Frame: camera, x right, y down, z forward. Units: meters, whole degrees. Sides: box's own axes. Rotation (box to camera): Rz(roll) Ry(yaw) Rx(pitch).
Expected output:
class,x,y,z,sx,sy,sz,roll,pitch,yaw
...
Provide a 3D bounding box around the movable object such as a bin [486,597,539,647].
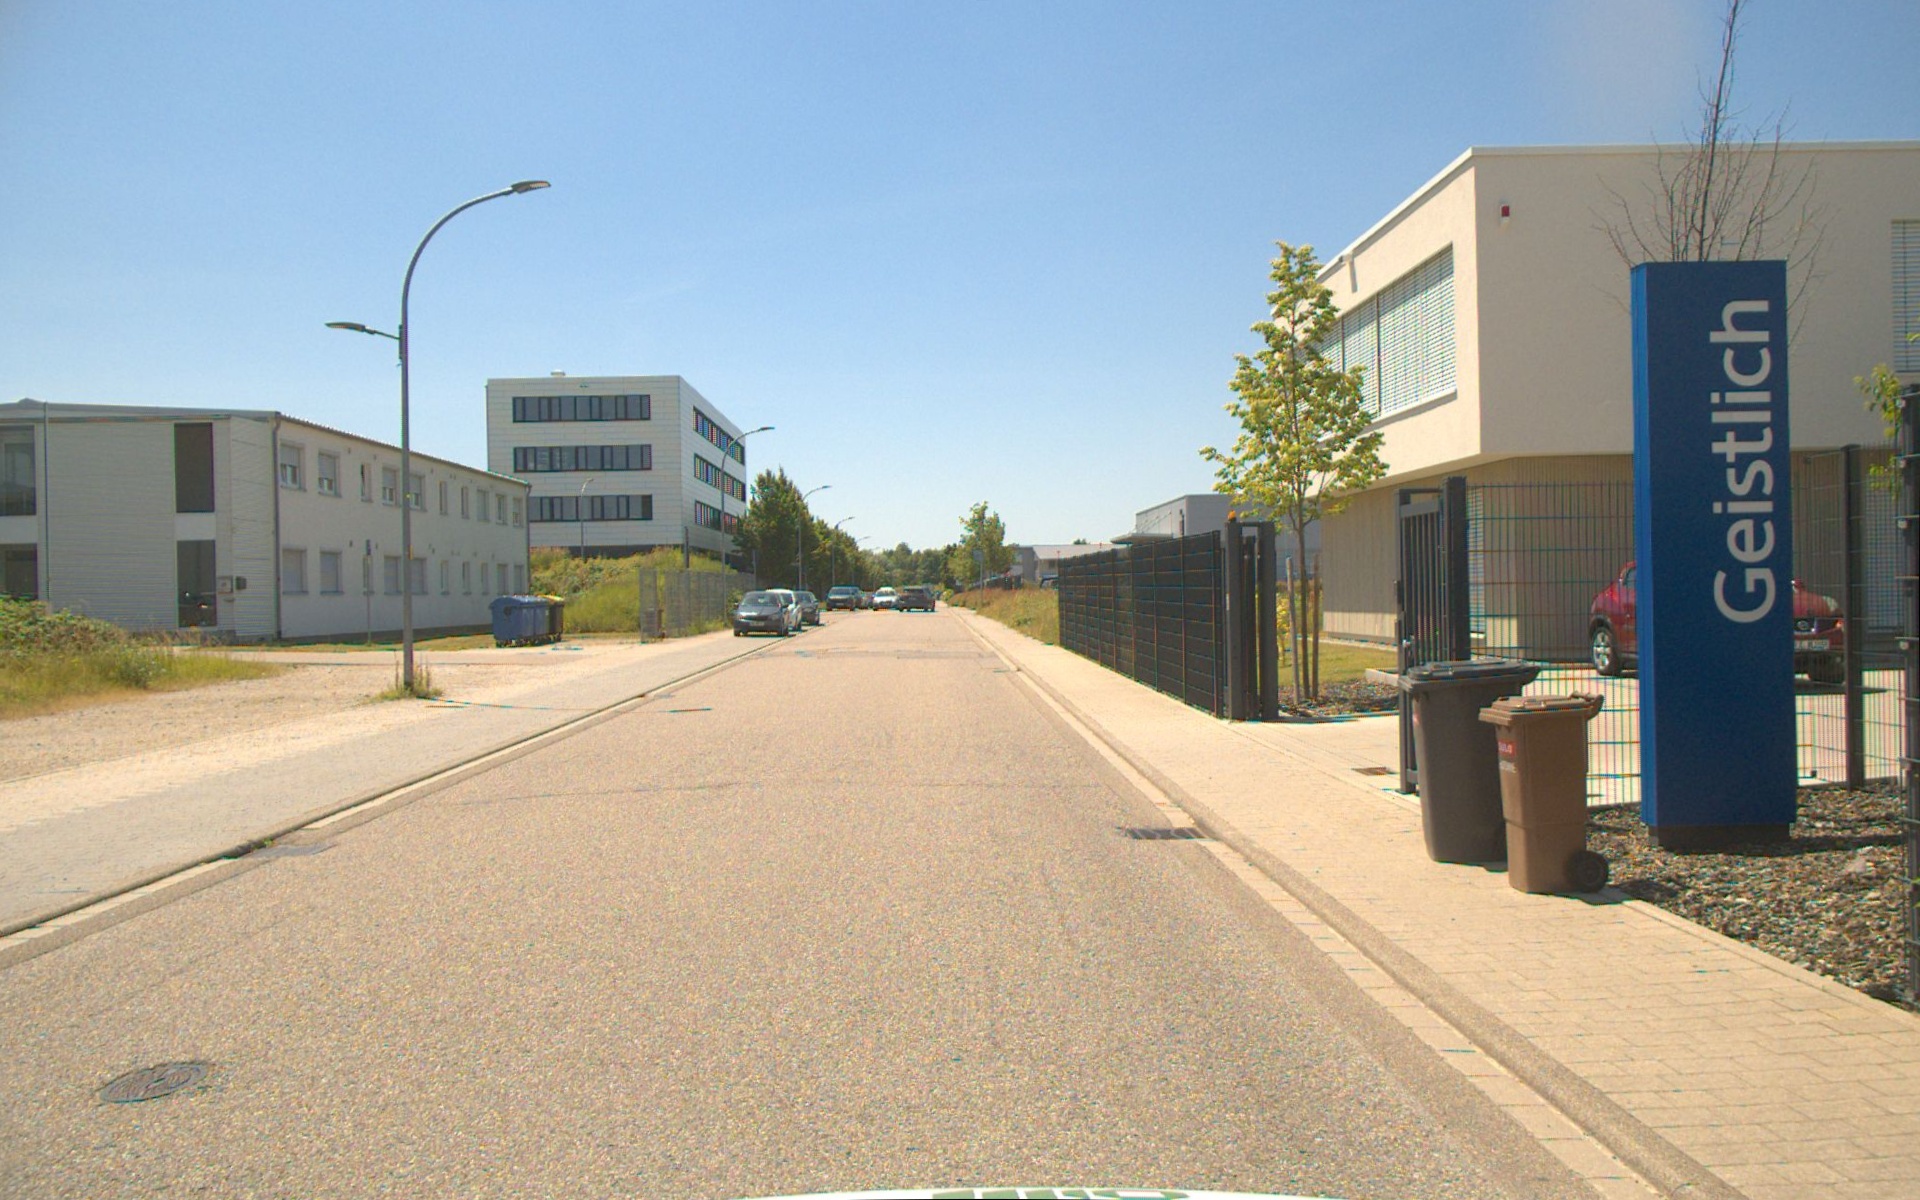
class,x,y,z,sx,sy,sz,roll,pitch,yaw
movable object such as a bin,-13.297,0.646,49.185,1.120,1.473,1.434,-1,0,1

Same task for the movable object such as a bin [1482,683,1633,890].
class,x,y,z,sx,sy,sz,roll,pitch,yaw
movable object such as a bin,2.955,0.908,8.214,0.513,0.941,0.554,-2,0,-1

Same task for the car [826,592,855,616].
class,x,y,z,sx,sy,sz,roll,pitch,yaw
car,-8.033,0.272,111.395,1.735,1.615,4.479,-1,0,-2

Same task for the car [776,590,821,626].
class,x,y,z,sx,sy,sz,roll,pitch,yaw
car,-6.980,0.359,71.657,1.640,1.476,4.067,-1,0,-2

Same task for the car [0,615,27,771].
class,x,y,z,sx,sy,sz,roll,pitch,yaw
car,-10.753,0.907,14.388,4.160,1.403,1.862,-2,0,0

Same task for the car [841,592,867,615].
class,x,y,z,sx,sy,sz,roll,pitch,yaw
car,-7.944,0.245,124.021,1.735,1.652,4.580,-1,0,-2

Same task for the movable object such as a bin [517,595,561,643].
class,x,y,z,sx,sy,sz,roll,pitch,yaw
movable object such as a bin,-13.263,0.603,52.154,1.065,1.473,1.388,-1,0,-3

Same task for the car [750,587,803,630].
class,x,y,z,sx,sy,sz,roll,pitch,yaw
car,-6.975,0.323,63.131,1.640,1.557,3.756,-1,0,-2

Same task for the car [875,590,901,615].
class,x,y,z,sx,sy,sz,roll,pitch,yaw
car,-4.952,0.167,113.955,1.735,1.615,4.075,-1,0,-2

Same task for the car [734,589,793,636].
class,x,y,z,sx,sy,sz,roll,pitch,yaw
car,-6.665,0.422,56.421,1.640,1.557,3.908,0,0,-2

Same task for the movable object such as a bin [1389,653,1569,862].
class,x,y,z,sx,sy,sz,roll,pitch,yaw
movable object such as a bin,2.865,0.854,9.192,0.733,1.066,0.698,-2,0,-1

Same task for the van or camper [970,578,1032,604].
class,x,y,z,sx,sy,sz,roll,pitch,yaw
van or camper,4.511,-1.023,182.562,6.621,2.630,2.634,-2,0,-2

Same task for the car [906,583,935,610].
class,x,y,z,sx,sy,sz,roll,pitch,yaw
car,-2.470,-0.197,103.684,1.753,1.652,3.808,1,0,-2

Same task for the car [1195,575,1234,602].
class,x,y,z,sx,sy,sz,roll,pitch,yaw
car,14.342,-0.615,93.192,1.484,1.421,3.539,-2,0,-3

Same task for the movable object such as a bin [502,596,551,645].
class,x,y,z,sx,sy,sz,roll,pitch,yaw
movable object such as a bin,-13.287,0.626,50.734,1.101,1.473,1.371,-1,0,1

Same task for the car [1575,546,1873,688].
class,x,y,z,sx,sy,sz,roll,pitch,yaw
car,9.434,0.135,20.796,1.636,1.585,4.075,-1,2,-4

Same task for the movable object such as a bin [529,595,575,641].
class,x,y,z,sx,sy,sz,roll,pitch,yaw
movable object such as a bin,-13.227,0.580,53.634,1.119,1.430,1.388,-1,0,1
